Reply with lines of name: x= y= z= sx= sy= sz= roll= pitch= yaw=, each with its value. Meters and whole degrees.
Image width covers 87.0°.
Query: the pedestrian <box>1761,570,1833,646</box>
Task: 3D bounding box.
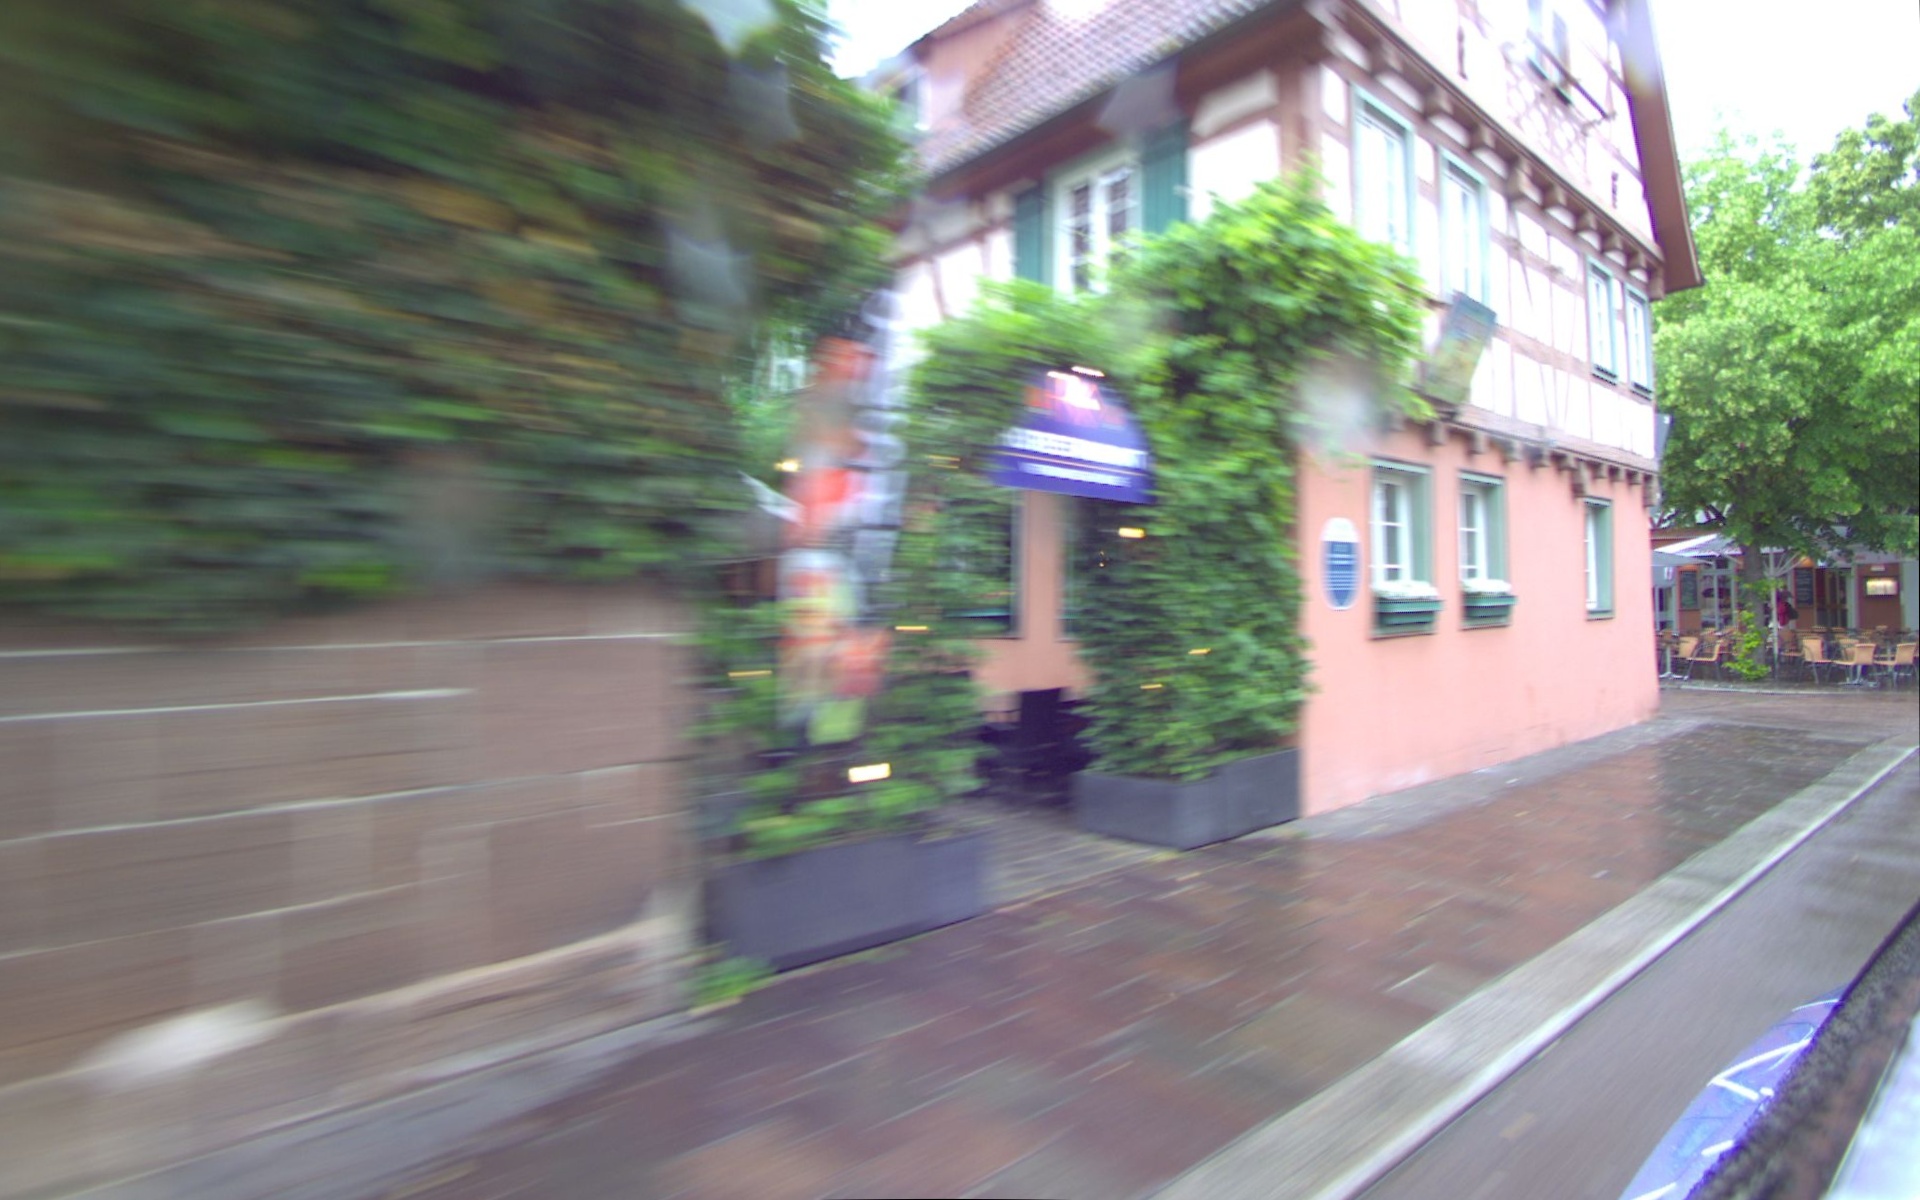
pedestrian: x=19.865 y=0.193 z=24.042 sx=0.874 sy=1.735 sz=0.886 roll=-3 pitch=-1 yaw=4
